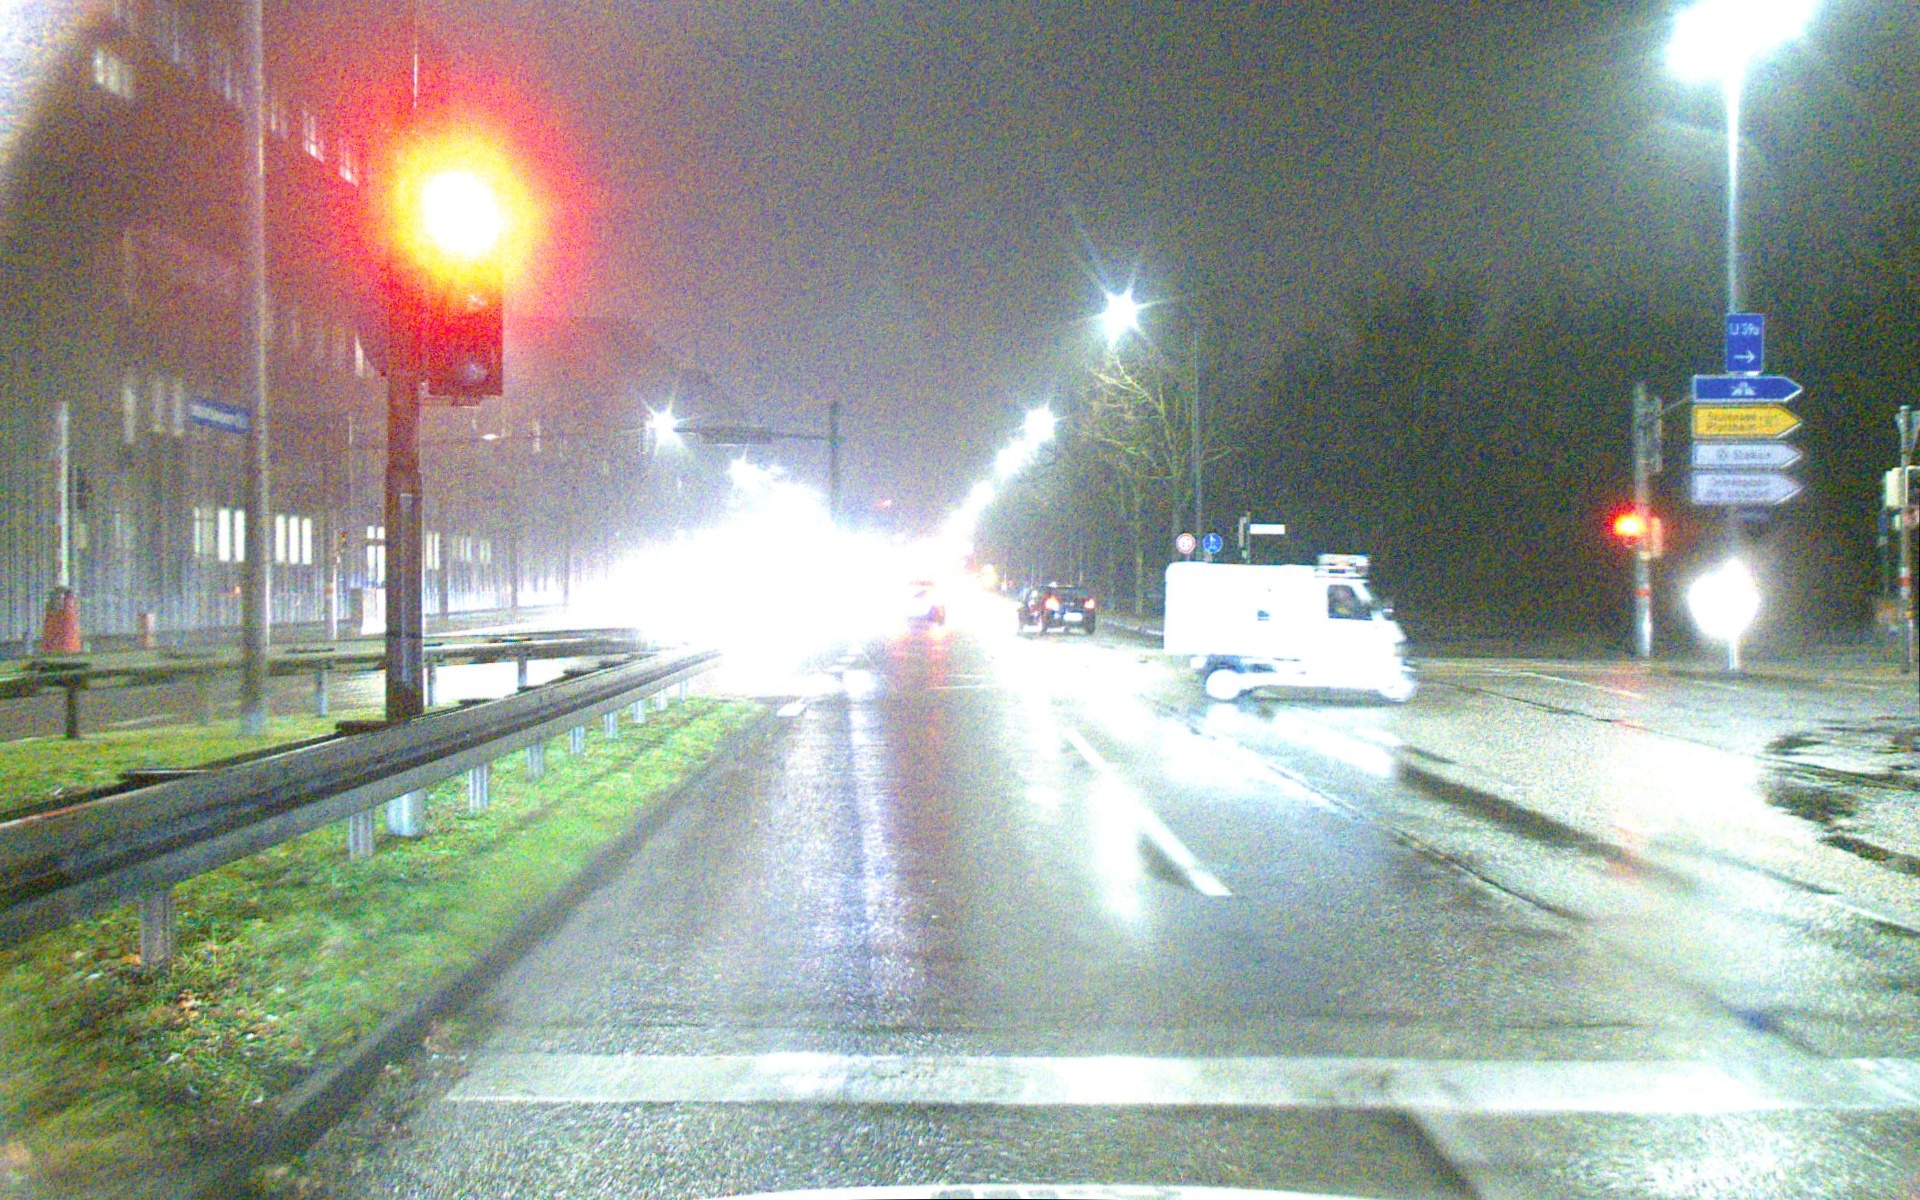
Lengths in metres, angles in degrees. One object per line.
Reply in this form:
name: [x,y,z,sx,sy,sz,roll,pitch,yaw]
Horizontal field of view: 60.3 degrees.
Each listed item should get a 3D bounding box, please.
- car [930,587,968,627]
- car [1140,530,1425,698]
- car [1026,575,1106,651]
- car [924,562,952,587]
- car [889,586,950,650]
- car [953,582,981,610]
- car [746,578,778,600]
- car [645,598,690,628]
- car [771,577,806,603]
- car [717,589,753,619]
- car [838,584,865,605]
car: [-0.596,0.384,90.934,1.996,2.119,4.306,0,0,0]
car: [4.213,0.172,21.438,3.481,2.049,1.705,0,-1,17]
car: [3.208,0.394,50.590,2.163,2.253,3.642,0,0,-1]
car: [-2.120,-2.440,156.929,2.393,2.232,5.075,0,0,-4]
car: [-1.321,0.585,55.202,1.953,2.049,3.999,0,0,-1]
car: [0.507,-0.296,123.237,1.996,2.049,4.307,0,0,1]
car: [-14.379,-0.783,120.441,1.847,1.579,4.432,0,0,-1]
car: [-15.830,0.714,89.679,1.764,1.591,3.999,0,0,-1]
car: [-10.790,-0.610,104.280,1.847,1.579,4.432,0,0,-1]
car: [-13.840,0.253,101.938,1.714,1.738,4.497,-1,0,-2]
car: [-8.309,-0.433,127.264,1.847,1.579,4.432,0,0,-1]
